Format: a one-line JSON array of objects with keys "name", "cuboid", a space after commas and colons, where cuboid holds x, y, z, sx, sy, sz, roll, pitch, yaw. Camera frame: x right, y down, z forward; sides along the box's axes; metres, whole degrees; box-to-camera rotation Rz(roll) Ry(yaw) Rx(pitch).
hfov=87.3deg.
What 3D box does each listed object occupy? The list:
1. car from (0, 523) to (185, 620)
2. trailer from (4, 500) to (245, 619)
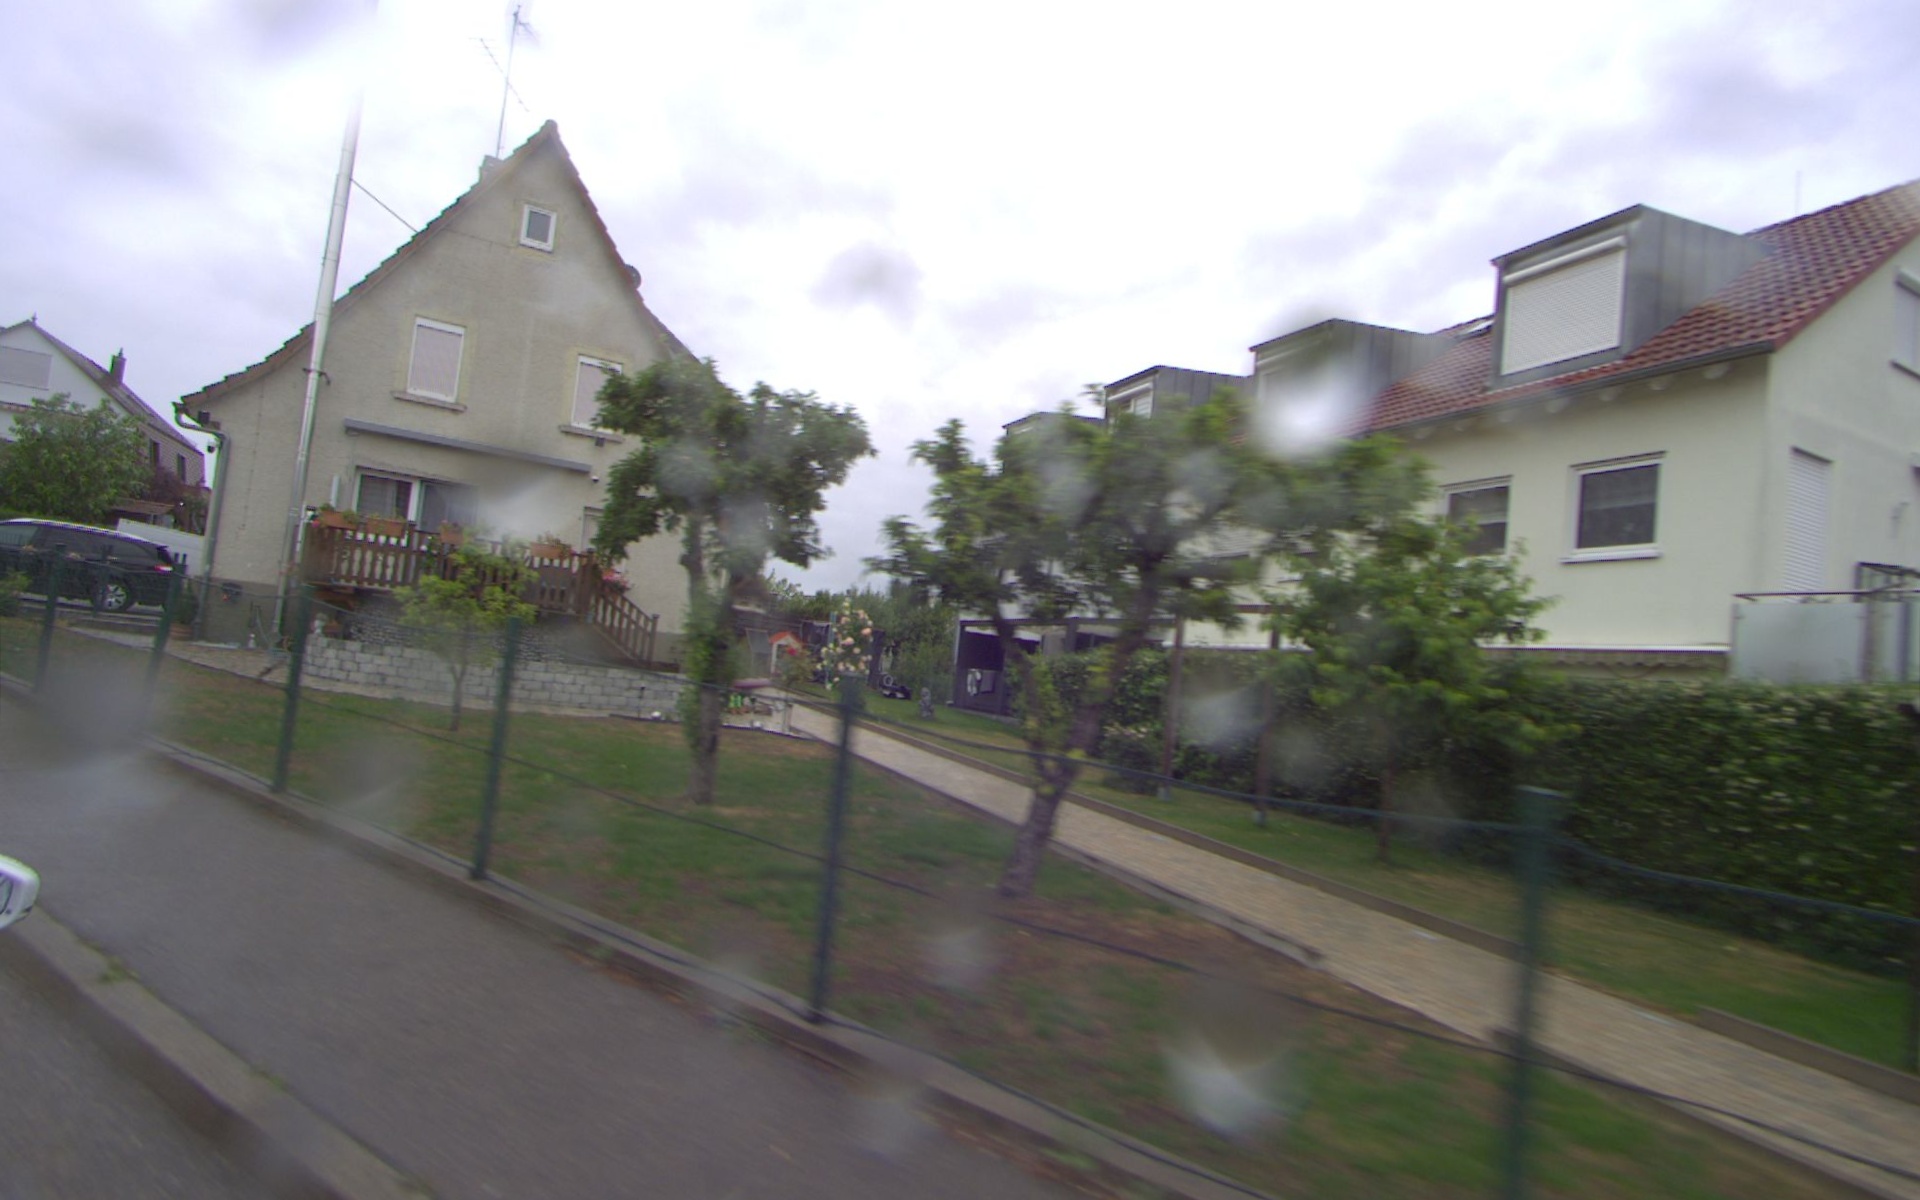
[{"name": "car", "cuboid": [-17.360, -0.641, 18.675, 4.540, 1.400, 1.977, 8, -1, -41]}, {"name": "trailer", "cuboid": [-17.901, -0.797, 21.765, 3.419, 1.816, 1.682, 11, -5, -21]}]
